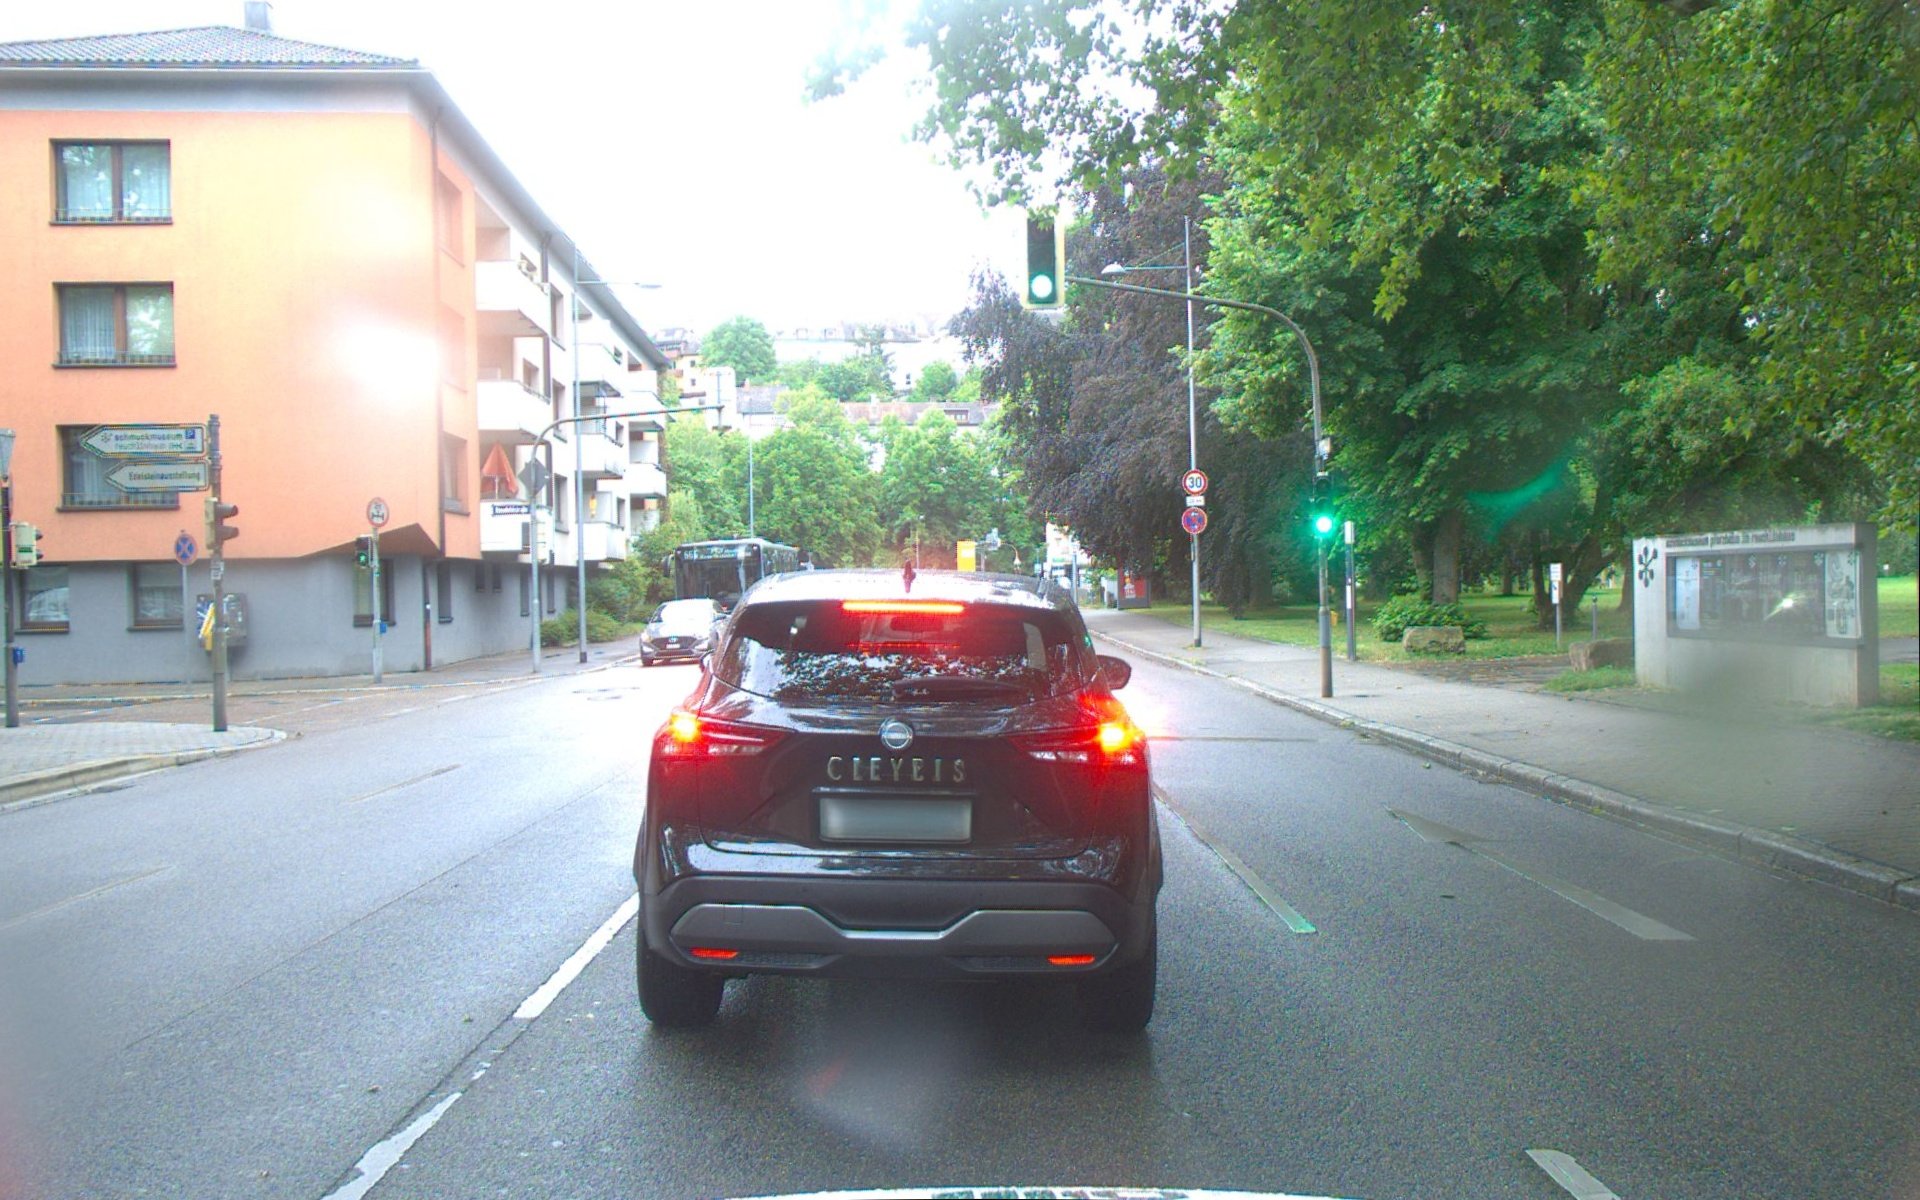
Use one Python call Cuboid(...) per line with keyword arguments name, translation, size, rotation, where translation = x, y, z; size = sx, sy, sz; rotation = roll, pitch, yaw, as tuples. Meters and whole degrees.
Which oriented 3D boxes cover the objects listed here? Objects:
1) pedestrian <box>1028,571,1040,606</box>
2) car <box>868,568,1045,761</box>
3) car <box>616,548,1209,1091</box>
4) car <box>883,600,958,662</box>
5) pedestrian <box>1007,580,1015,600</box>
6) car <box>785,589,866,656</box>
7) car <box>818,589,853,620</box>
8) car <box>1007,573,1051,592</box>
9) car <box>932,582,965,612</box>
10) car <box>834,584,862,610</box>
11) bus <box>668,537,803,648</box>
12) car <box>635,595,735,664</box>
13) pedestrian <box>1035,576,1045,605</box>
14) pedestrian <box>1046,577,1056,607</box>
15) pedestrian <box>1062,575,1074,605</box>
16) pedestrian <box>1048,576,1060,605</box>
Cuboid(name="pedestrian", translation=(4.759, -0.759, 106.864), size=(0.752, 2.222, 0.711), rotation=(1, -1, 2))
Cuboid(name="car", translation=(-0.005, 0.588, 17.263), size=(1.588, 1.738, 3.771), rotation=(-2, 0, 1))
Cuboid(name="car", translation=(-0.167, 0.674, 7.002), size=(1.769, 1.618, 3.999), rotation=(1, 0, -1))
Cuboid(name="car", translation=(-0.990, 0.732, 41.067), size=(1.772, 1.442, 4.029), rotation=(0, 0, -2))
Cuboid(name="pedestrian", translation=(5.269, -1.032, 171.707), size=(0.684, 2.049, 0.582), rotation=(-2, 0, -1))
Cuboid(name="car", translation=(-3.118, 0.486, 38.801), size=(1.591, 1.439, 3.454), rotation=(-2, 0, 0))
Cuboid(name="car", translation=(-6.628, 0.211, 88.247), size=(1.643, 1.495, 4.215), rotation=(-3, 1, -2))
Cuboid(name="car", translation=(6.847, -1.732, 163.949), size=(3.916, 1.713, 1.995), rotation=(-2, 0, -11))
Cuboid(name="car", translation=(-0.571, -0.156, 83.156), size=(1.591, 1.439, 3.454), rotation=(-2, 0, 0))
Cuboid(name="car", translation=(-7.698, -0.225, 113.920), size=(1.714, 1.662, 3.634), rotation=(-2, 1, 0))
Cuboid(name="bus", translation=(-6.816, -0.223, 51.965), size=(2.710, 3.026, 11.779), rotation=(-1, 0, -1))
Cuboid(name="car", translation=(-6.491, 0.657, 39.414), size=(1.772, 1.441, 4.029), rotation=(-3, 1, -2))
Cuboid(name="pedestrian", translation=(4.672, -0.558, 96.112), size=(0.533, 1.680, 0.490), rotation=(1, -1, 0))
Cuboid(name="pedestrian", translation=(5.181, -0.452, 94.469), size=(0.504, 1.684, 0.550), rotation=(1, -1, -1))
Cuboid(name="pedestrian", translation=(6.478, -0.598, 98.915), size=(0.606, 1.810, 0.778), rotation=(-2, 0, -1))
Cuboid(name="pedestrian", translation=(5.463, -0.544, 96.206), size=(0.685, 1.680, 0.628), rotation=(1, -1, 0))
